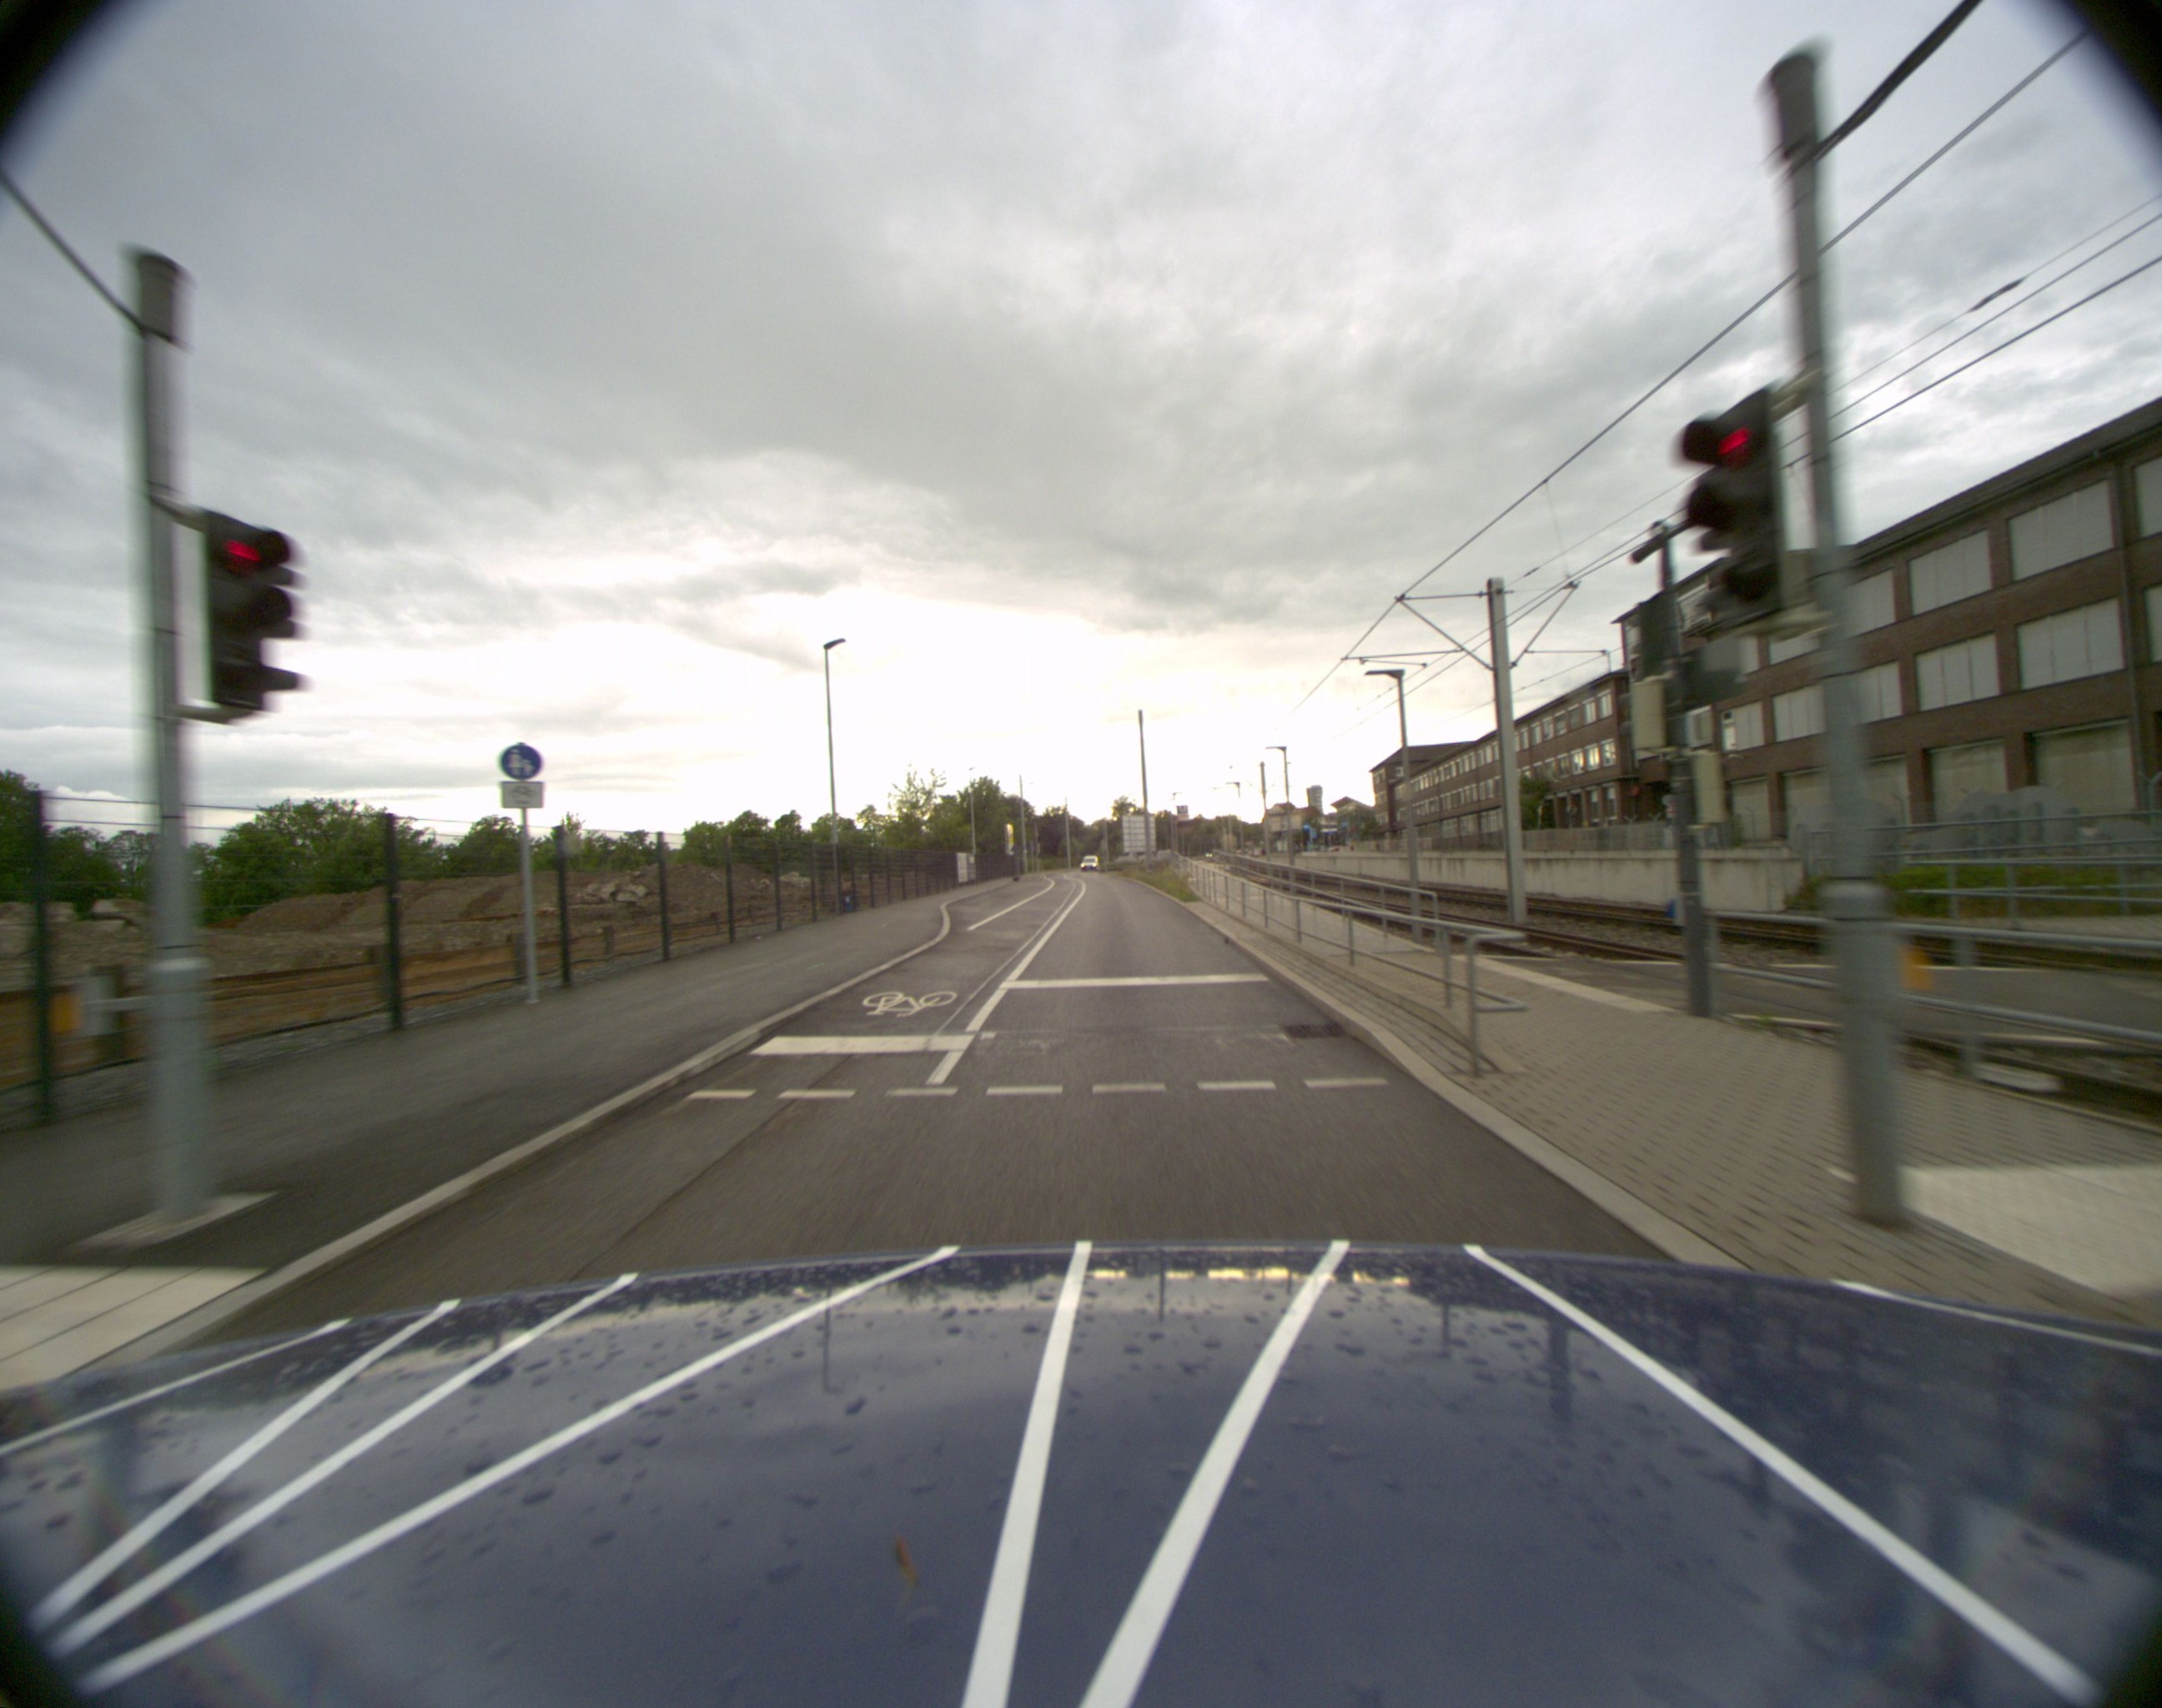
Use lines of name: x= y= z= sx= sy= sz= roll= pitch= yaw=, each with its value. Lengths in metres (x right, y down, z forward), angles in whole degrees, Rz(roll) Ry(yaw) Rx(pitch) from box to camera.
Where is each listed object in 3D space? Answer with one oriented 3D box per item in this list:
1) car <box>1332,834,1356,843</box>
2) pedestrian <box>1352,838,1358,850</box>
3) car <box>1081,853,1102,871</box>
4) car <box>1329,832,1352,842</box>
car: x=56.951 y=-3.424 z=164.823 sx=4.573 sy=1.750 sz=2.002 roll=-3 pitch=0 yaw=10
pedestrian: x=47.286 y=-1.765 z=131.177 sx=0.581 sy=2.002 sz=0.728 roll=-2 pitch=1 yaw=-26
car: x=1.268 y=0.948 z=89.607 sx=1.997 sy=2.002 sz=4.002 roll=-1 pitch=0 yaw=6
car: x=57.441 y=-3.768 z=168.132 sx=4.573 sy=1.750 sz=2.002 roll=-3 pitch=0 yaw=10
